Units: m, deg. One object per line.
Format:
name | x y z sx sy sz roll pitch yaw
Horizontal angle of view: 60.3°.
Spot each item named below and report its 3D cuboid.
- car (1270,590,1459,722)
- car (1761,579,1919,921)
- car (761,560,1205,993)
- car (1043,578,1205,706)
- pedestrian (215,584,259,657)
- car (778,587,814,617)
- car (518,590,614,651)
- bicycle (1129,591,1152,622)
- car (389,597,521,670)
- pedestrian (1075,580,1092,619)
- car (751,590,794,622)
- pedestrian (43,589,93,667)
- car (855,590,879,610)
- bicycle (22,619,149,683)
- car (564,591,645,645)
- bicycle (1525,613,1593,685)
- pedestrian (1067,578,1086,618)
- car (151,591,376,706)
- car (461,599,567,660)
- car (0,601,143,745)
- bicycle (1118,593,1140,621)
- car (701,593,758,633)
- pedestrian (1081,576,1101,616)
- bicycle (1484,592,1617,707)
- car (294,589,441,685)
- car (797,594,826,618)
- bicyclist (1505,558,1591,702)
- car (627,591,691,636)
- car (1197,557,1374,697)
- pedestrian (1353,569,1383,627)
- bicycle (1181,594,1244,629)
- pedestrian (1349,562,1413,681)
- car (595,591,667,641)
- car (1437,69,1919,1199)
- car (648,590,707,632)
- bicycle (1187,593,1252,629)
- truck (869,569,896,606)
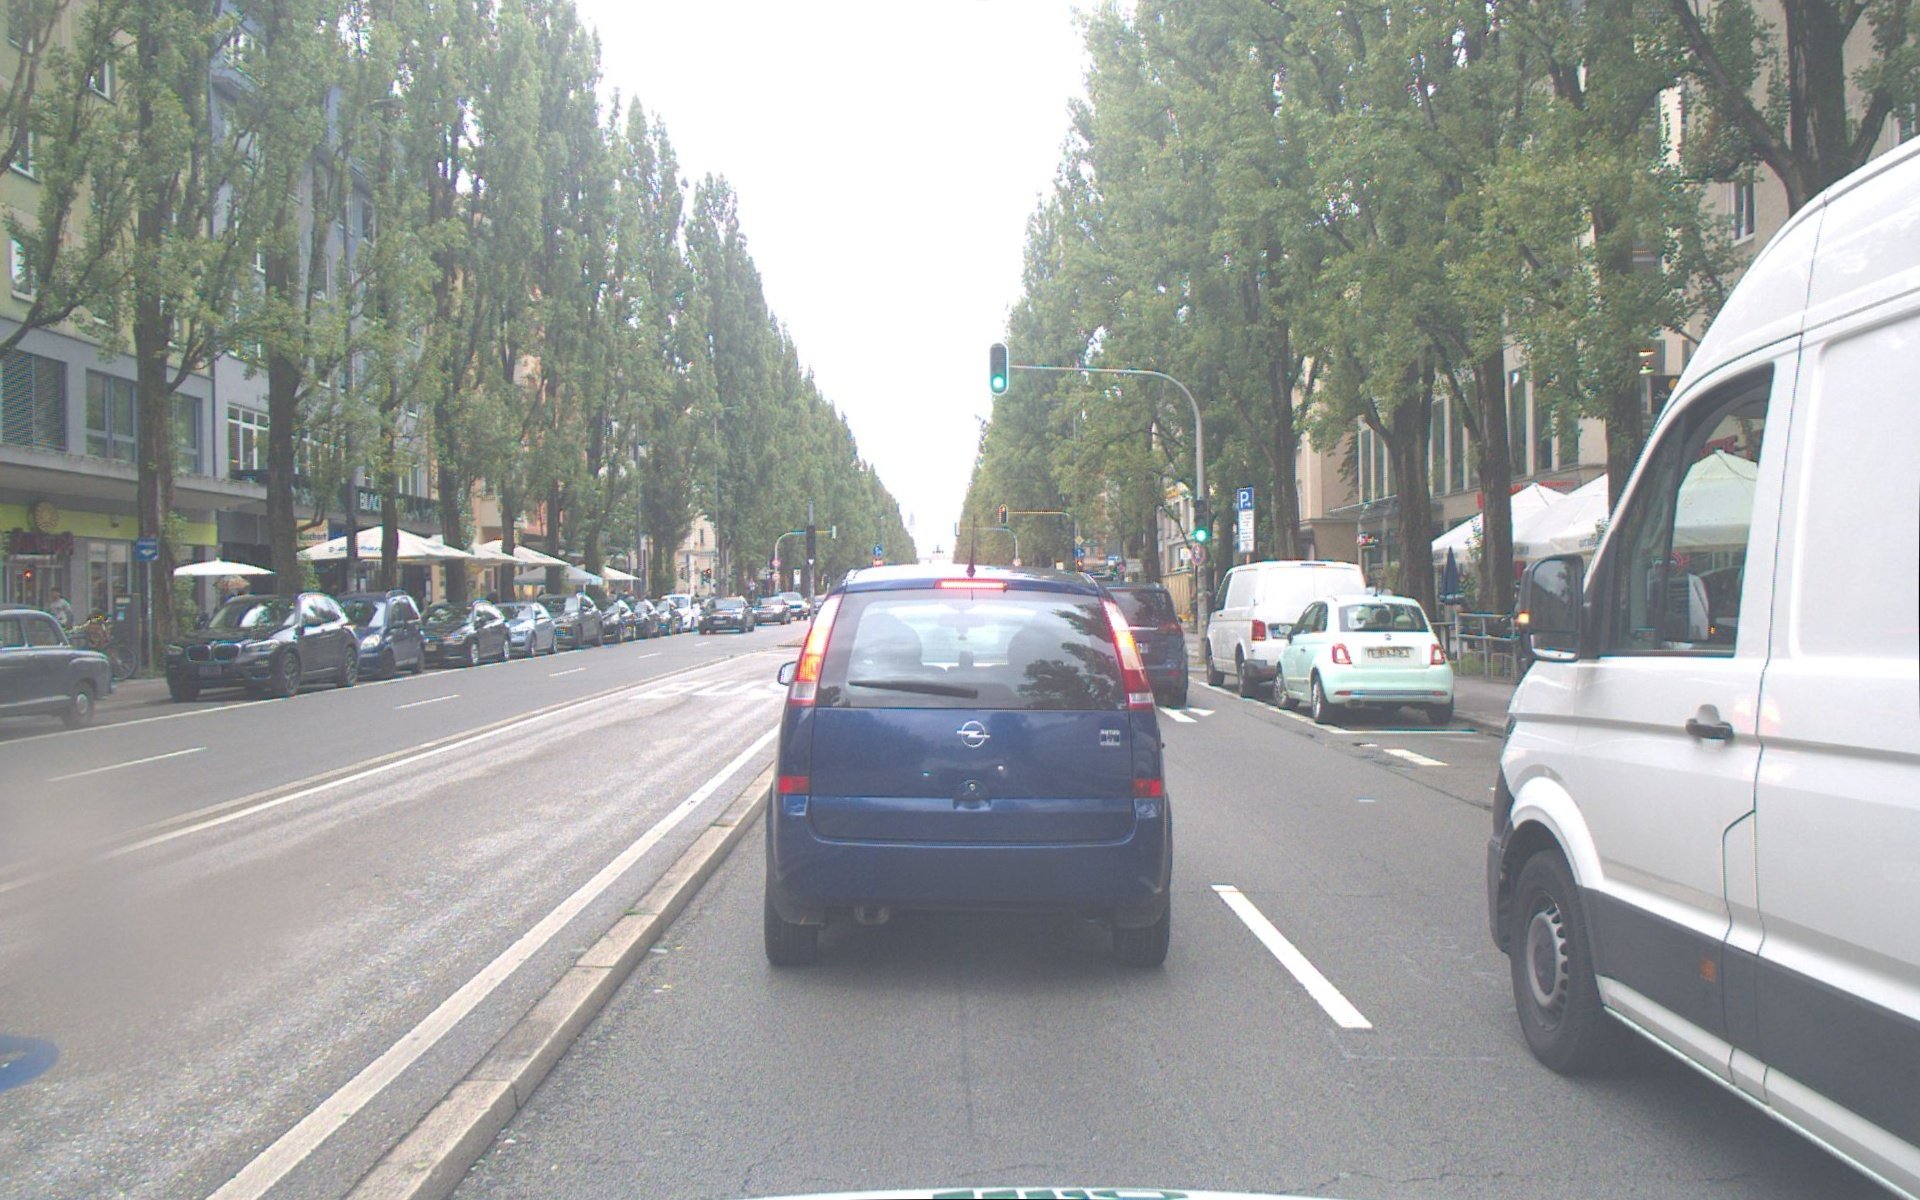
car | 4.959 0.636 20.695 1.509 1.518 3.523 0 0 0
car | 5.128 0.687 7.511 1.560 1.544 2.728 1 0 -3
car | 0.067 0.640 8.108 1.637 1.596 4.000 0 0 -1
car | 2.233 0.534 23.427 1.858 1.650 4.000 0 0 -1
pedestrian | -17.334 0.483 39.667 0.740 1.715 0.675 -1 -1 0
car | -9.678 0.095 97.912 1.735 1.663 4.454 -2 0 -2
car | -11.767 0.578 49.720 1.828 1.694 4.400 -2 0 -1
bicycle | 8.325 0.297 76.321 0.757 1.372 2.449 -1 0 -1
car | -11.753 0.738 38.815 1.762 1.514 4.349 -2 0 -1
pedestrian | 6.028 -0.020 80.624 0.625 1.859 0.885 1 0 -11
car | -9.400 0.283 83.051 1.710 1.459 4.129 -2 0 -1
pedestrian | -20.139 0.624 37.338 0.740 1.715 0.675 -1 -1 0
car | -7.079 -0.022 125.909 1.699 1.491 3.365 -1 0 -1
bicycle | -16.183 0.941 30.629 1.909 1.114 0.718 2 0 -7
car | -11.978 0.577 55.937 1.828 1.694 4.119 -2 0 -1
bicycle | 8.783 0.701 24.296 0.342 1.013 1.453 -2 0 -4
pedestrian | 5.377 -0.090 76.369 0.625 1.859 0.885 1 0 -11
car | -11.580 0.739 27.875 1.828 1.693 4.610 -2 0 -1
car | -11.797 0.745 44.014 1.698 1.450 4.143 -2 0 -1
car | -11.671 0.856 19.544 1.828 1.579 4.413 -2 0 -1
bicycle | 8.424 0.356 82.510 0.757 1.372 2.449 -1 0 -1
car | -9.291 0.497 67.096 1.663 1.488 4.712 -2 0 -1
pedestrian | 6.077 -0.181 76.564 0.707 1.859 0.885 1 0 -11
bicycle | 7.493 0.586 21.126 0.757 1.372 2.449 -1 0 -1
car | -11.831 0.690 33.267 1.676 1.751 3.919 -2 0 -4
car | -10.909 0.413 121.799 1.828 1.695 4.119 -1 0 -1
bicyclist | 7.498 0.374 21.128 0.752 1.797 0.885 -1 0 -1
car | -12.084 0.514 66.569 1.828 1.694 4.119 -2 0 -1
car | 4.945 0.362 25.741 1.751 1.980 4.729 0 0 -1
pedestrian | 12.446 -0.056 50.475 0.660 1.715 0.758 -1 -1 -5
bicycle | 9.170 0.415 60.074 2.182 1.225 0.626 -1 0 -3
pedestrian | 6.477 0.322 25.485 0.810 1.804 0.871 -1 0 5
car | -12.105 0.554 61.042 1.828 1.694 4.119 -2 0 -1
car | 2.852 0.253 2.931 2.021 2.536 6.729 0 0 -1
car | -12.230 0.462 71.828 1.828 1.694 4.119 -2 0 -1
bicycle | 9.214 0.391 58.696 2.182 1.225 0.626 -1 0 -3
truck | -7.266 -1.164 155.629 2.334 3.405 7.109 -1 0 -1
